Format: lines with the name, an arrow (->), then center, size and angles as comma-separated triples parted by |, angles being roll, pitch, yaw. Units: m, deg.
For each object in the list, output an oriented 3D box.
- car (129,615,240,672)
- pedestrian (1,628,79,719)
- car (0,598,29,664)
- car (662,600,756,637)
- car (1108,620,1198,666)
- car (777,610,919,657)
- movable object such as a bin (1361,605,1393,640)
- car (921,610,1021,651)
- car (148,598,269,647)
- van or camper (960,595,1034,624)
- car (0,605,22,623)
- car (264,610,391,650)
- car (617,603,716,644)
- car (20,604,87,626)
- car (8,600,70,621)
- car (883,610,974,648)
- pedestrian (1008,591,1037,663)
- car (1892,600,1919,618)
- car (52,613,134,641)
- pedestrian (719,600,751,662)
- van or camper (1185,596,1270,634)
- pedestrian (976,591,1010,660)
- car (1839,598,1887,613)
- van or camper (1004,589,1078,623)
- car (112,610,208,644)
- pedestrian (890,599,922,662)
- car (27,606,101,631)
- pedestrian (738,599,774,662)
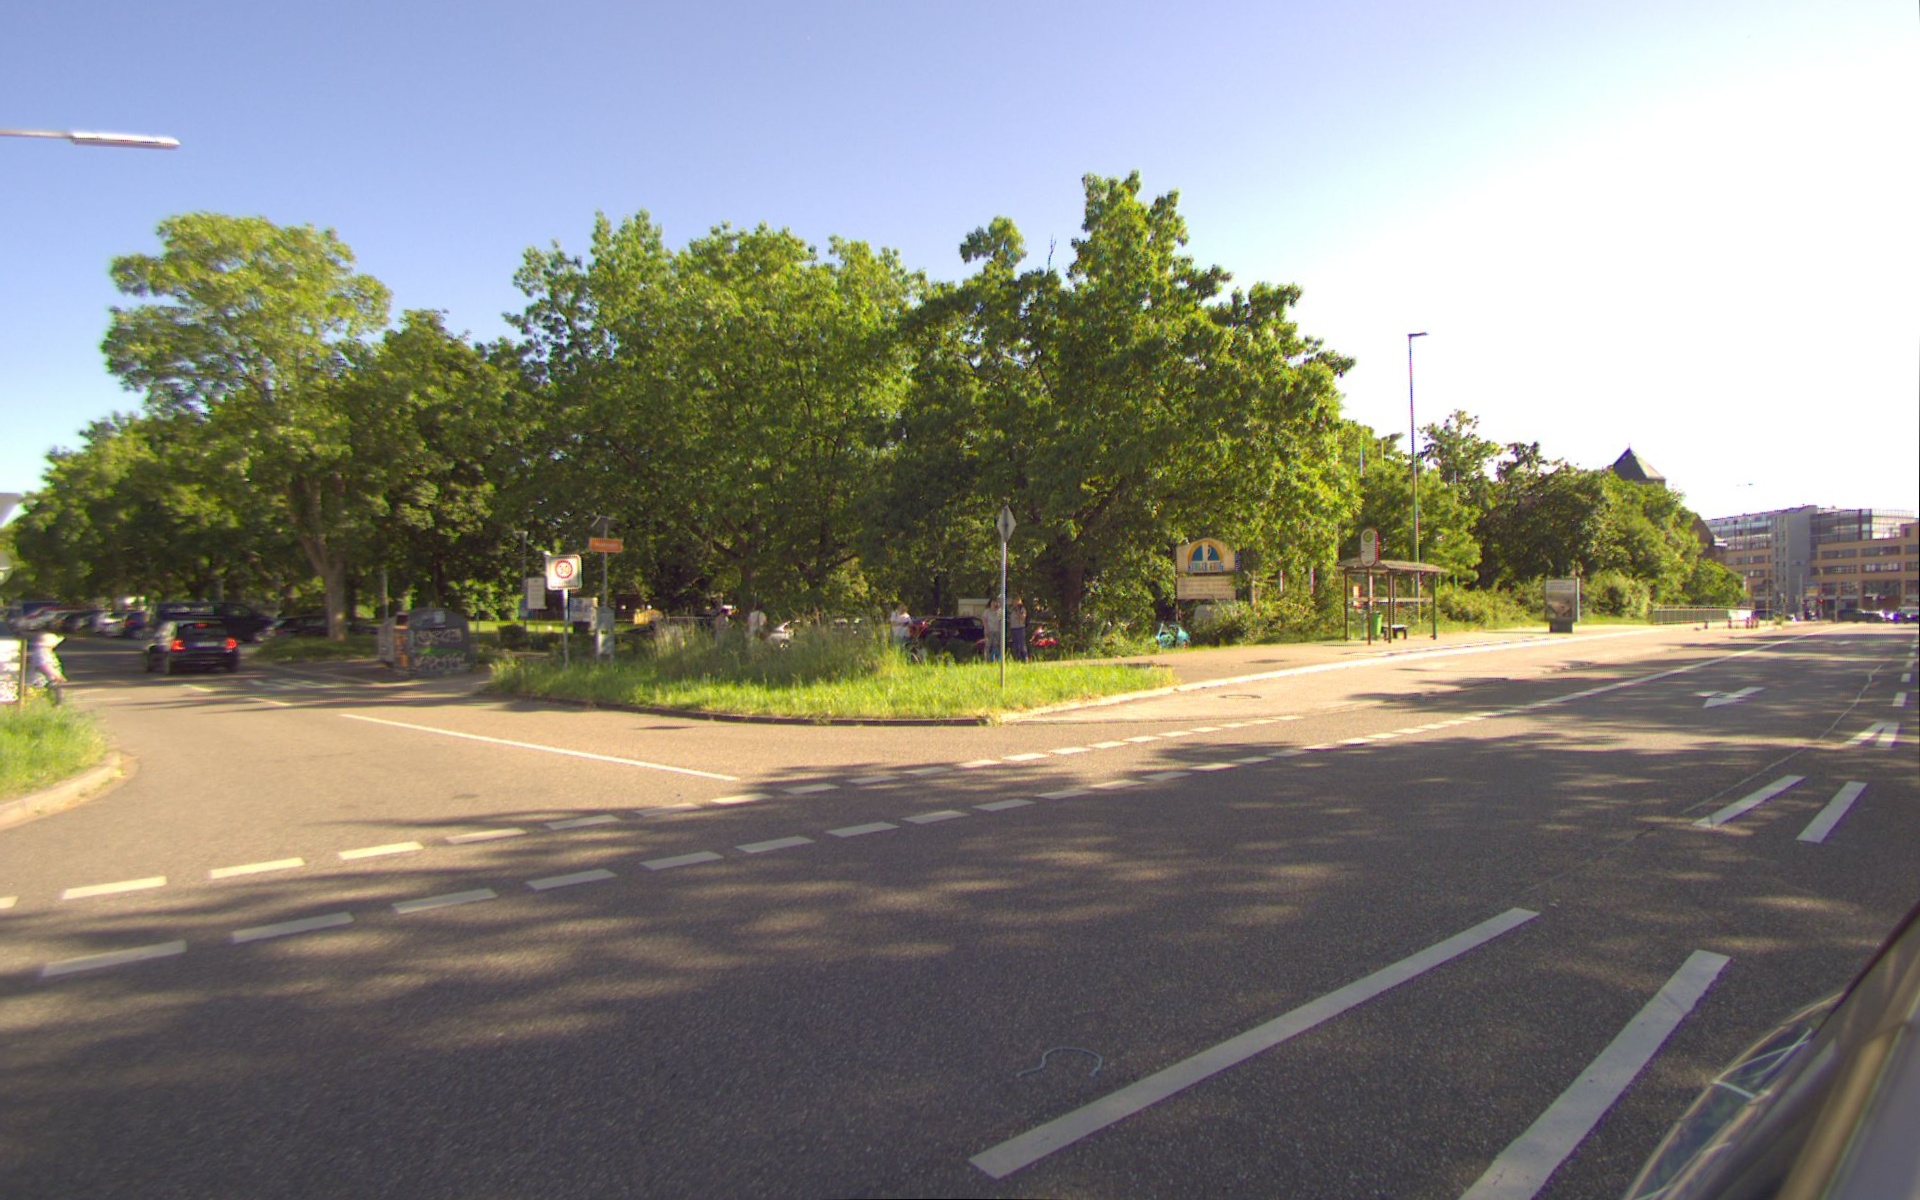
car -> -22.350, 1.204, 29.153 | 3.540, 1.522, 1.658 | -1, -1, 37
pedestrian -> -16.109, 1.260, 17.725 | 0.648, 1.516, 0.897 | -1, -1, 36
car -> -31.647, 0.995, 32.753 | 3.985, 2.039, 1.969 | -1, -1, 43
car -> -9.622, 0.695, 38.696 | 3.633, 1.290, 1.601 | -1, 1, 40
car -> 7.623, 1.644, 39.864 | 3.553, 1.658, 1.763 | 0, -1, -44
car -> -3.915, 1.245, 36.069 | 4.806, 1.558, 1.995 | 3, -4, -43
movable object such as a bin -> 12.767, 0.691, 31.000 | 0.726, 1.043, 0.569 | -1, -1, 45
car -> 0.554, 1.450, 46.505 | 4.696, 1.773, 1.753 | 3, -4, -43
car -> -34.184, 0.976, 46.085 | 4.278, 2.099, 1.995 | 0, -1, -43
van or camper -> 2.585, 0.620, 69.744 | 2.447, 1.937, 5.250 | -1, -1, 40
car -> -92.746, 1.377, 97.078 | 1.992, 1.677, 3.940 | -3, -1, 42
car -> -23.914, 1.106, 38.307 | 3.927, 1.314, 1.998 | -1, -1, -38
car -> -10.371, 0.814, 35.639 | 3.570, 1.331, 1.601 | -1, 1, 40
car -> -73.929, 1.231, 82.552 | 1.992, 1.677, 3.940 | -3, -1, 42
car -> -81.675, 0.909, 89.768 | 1.992, 1.677, 3.940 | -3, -1, 42
car -> -1.470, 1.360, 47.897 | 3.931, 1.616, 1.996 | -1, -1, -41
pedestrian -> 1.532, 0.656, 24.886 | 0.602, 1.722, 0.403 | -1, -1, 45
car -> 81.328, 0.733, 85.571 | 1.800, 1.492, 3.989 | -1, 0, 9
car -> -57.943, 1.803, 67.680 | 1.992, 1.677, 3.940 | -3, -1, 42
pedestrian -> -6.024, 0.826, 27.085 | 0.596, 1.640, 0.559 | -3, -1, 39
van or camper -> 14.460, 0.758, 54.487 | 2.447, 1.937, 5.250 | -1, -1, 40
pedestrian -> 0.811, 0.618, 24.978 | 0.542, 1.655, 0.622 | 1, -1, -45
car -> 102.683, 0.600, 115.131 | 3.986, 1.653, 1.968 | -1, -1, 44
van or camper -> 5.451, 0.384, 67.334 | 2.446, 2.186, 5.253 | -1, -1, 39
car -> -43.417, 1.467, 54.967 | 3.935, 1.677, 1.994 | -1, -1, -45
pedestrian -> -1.335, 0.756, 25.108 | 0.603, 1.538, 0.528 | 0, -1, -43
car -> -67.037, 1.384, 75.725 | 1.992, 1.677, 3.940 | -3, -1, 42
pedestrian -> -5.341, 0.796, 26.510 | 0.701, 1.640, 0.559 | -3, -1, 39
